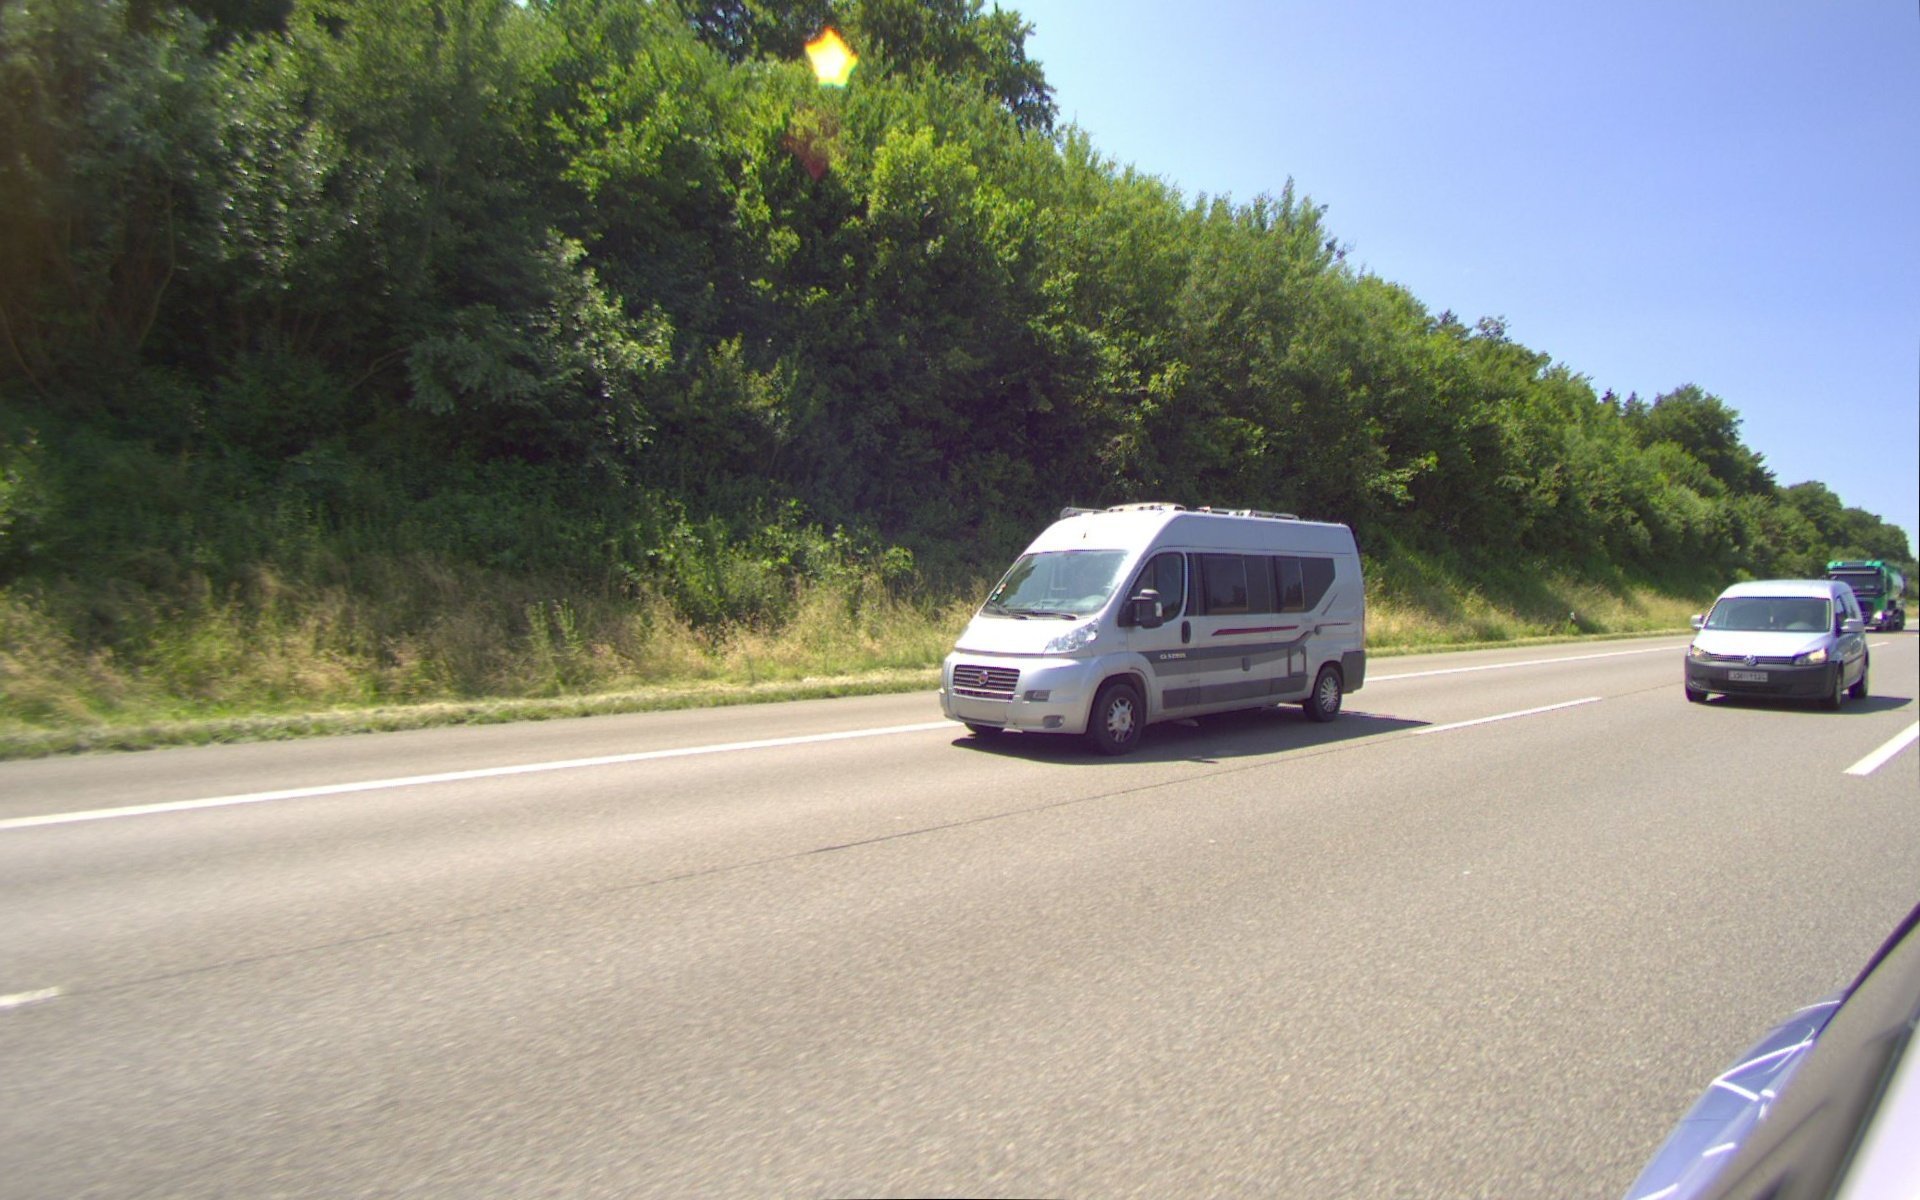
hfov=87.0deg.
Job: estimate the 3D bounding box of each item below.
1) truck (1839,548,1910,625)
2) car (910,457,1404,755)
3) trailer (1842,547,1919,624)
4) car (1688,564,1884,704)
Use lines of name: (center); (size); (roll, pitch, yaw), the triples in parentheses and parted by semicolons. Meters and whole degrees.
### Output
truck: (48.661, -0.669, 53.822); (4.811, 3.891, 2.511); (1, -1, -44)
car: (2.631, 0.094, 11.810); (6.505, 2.609, 2.093); (1, -1, -41)
trailer: (52.643, -0.688, 57.628); (10.291, 4.079, 2.590); (1, -1, -43)
car: (12.854, 0.446, 15.634); (4.720, 1.853, 1.747); (0, 0, -43)
